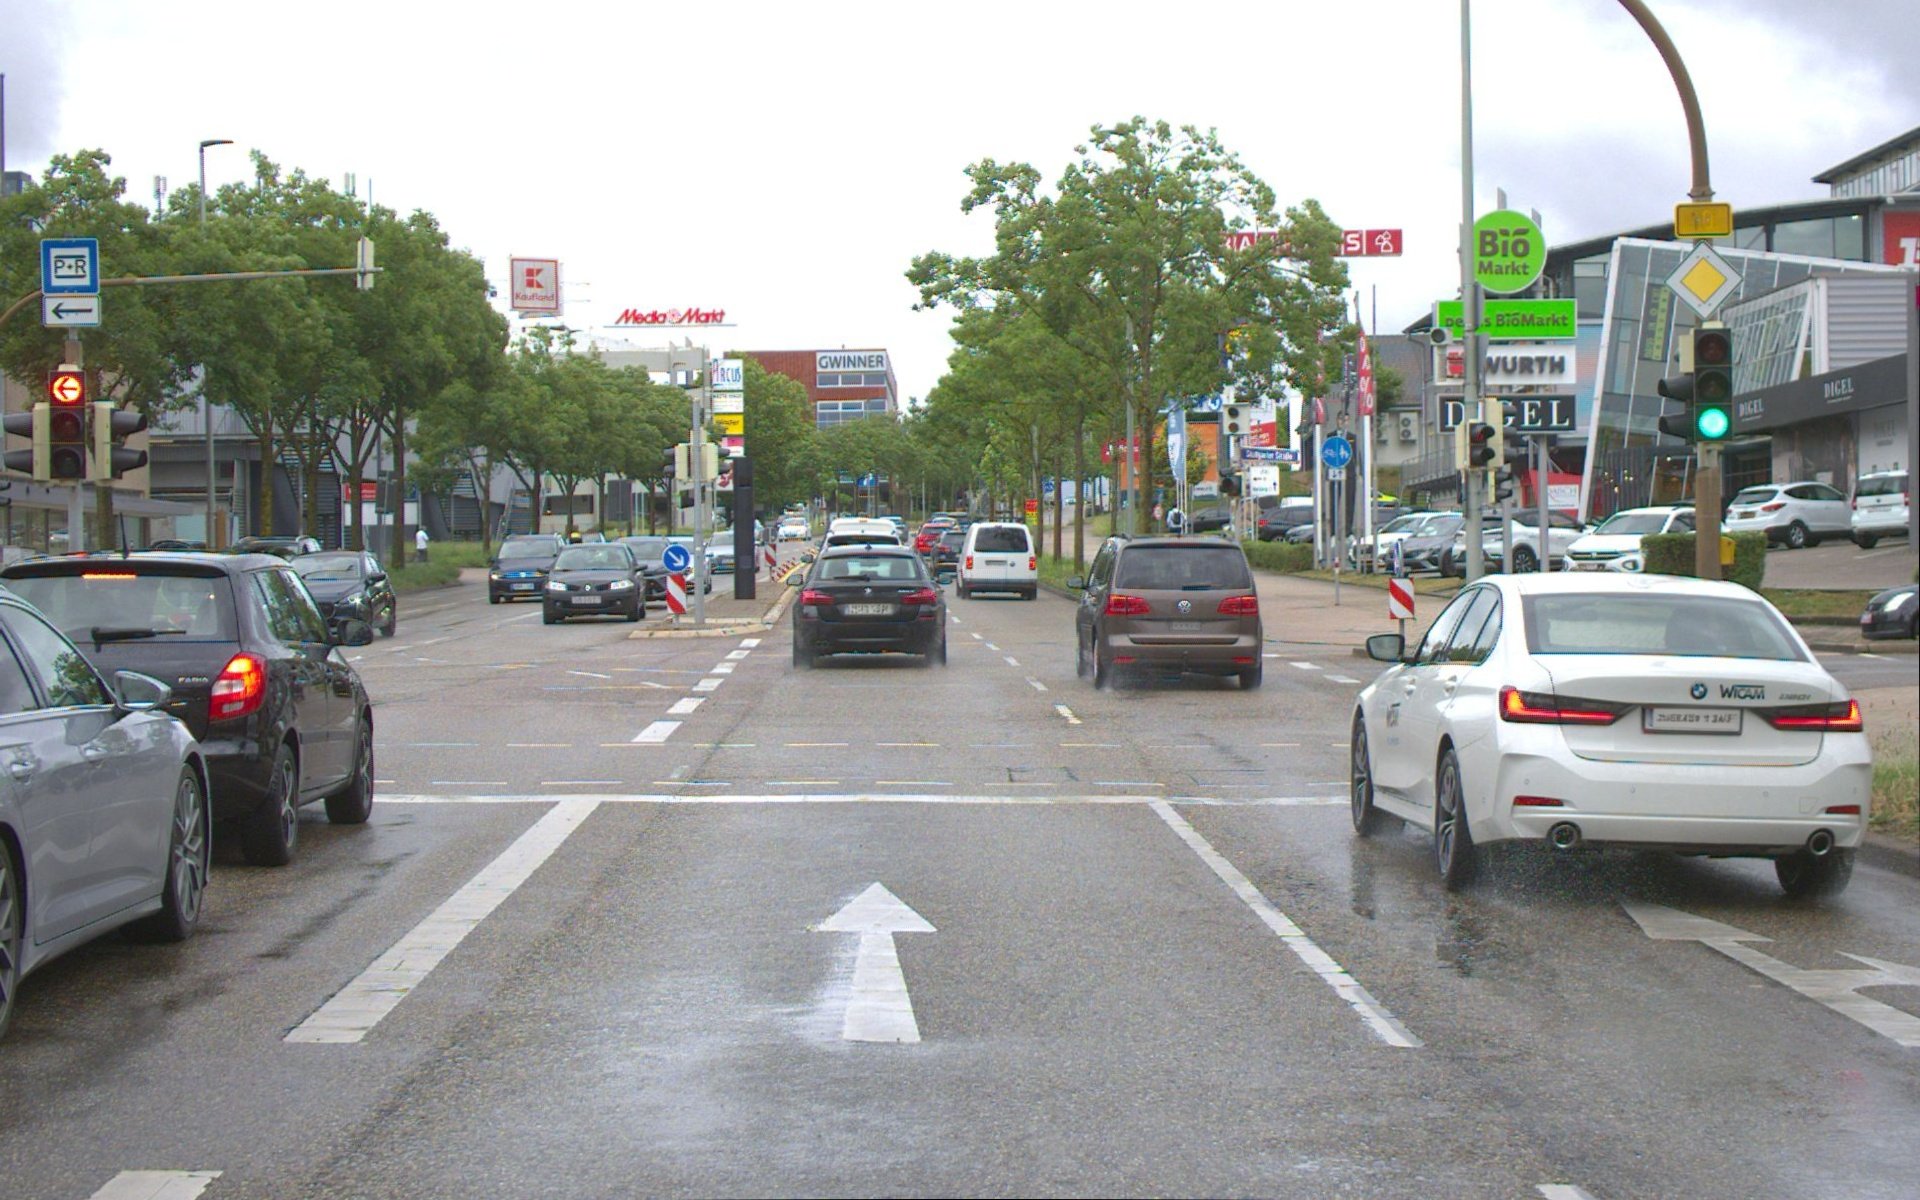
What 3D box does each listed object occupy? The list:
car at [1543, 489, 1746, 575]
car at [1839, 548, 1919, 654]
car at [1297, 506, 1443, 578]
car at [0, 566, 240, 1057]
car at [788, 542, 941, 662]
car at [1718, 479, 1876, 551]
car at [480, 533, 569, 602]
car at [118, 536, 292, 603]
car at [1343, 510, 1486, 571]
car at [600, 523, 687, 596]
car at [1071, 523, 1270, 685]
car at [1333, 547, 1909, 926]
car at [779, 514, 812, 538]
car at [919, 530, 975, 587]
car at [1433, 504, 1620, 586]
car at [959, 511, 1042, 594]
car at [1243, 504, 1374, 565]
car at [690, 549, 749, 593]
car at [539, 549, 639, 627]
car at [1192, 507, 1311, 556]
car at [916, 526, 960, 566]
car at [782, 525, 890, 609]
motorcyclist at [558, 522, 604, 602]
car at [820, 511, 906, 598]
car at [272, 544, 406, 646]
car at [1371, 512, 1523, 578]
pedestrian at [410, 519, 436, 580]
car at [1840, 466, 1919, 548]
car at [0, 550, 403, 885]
[{"bbox_3d":[13.101,-1.306,65.626,1.930,1.571,4.278,0,1,41],"label":"car"},{"bbox_3d":[14.886,-0.028,49.459,3.979,1.484,1.817,-1,0,0],"label":"car"},{"bbox_3d":[12.094,-1.718,101.656,4.111,2.098,1.800,0,1,1],"label":"car"},{"bbox_3d":[-3.779,0.631,11.557,1.765,1.453,4.781,-1,1,-1],"label":"car"},{"bbox_3d":[-1.162,-0.004,42.143,1.781,1.393,4.000,0,1,-1],"label":"car"},{"bbox_3d":[21.084,-2.141,86.517,4.142,1.765,1.737,-2,1,-40],"label":"car"},{"bbox_3d":[-10.604,-0.810,83.909,1.910,1.603,4.364,-1,1,-4],"label":"car"},{"bbox_3d":[-18.500,-0.739,84.179,3.994,1.546,1.896,0,2,34],"label":"car"},{"bbox_3d":[12.039,-1.576,91.019,3.589,1.530,1.796,-2,2,-40],"label":"car"},{"bbox_3d":[-6.654,-0.849,72.596,1.744,1.484,4.829,-1,1,-4],"label":"car"},{"bbox_3d":[2.193,-0.002,36.862,1.801,1.581,4.451,1,1,0],"label":"car"},{"bbox_3d":[3.012,0.543,16.672,1.801,1.539,4.620,1,1,-1],"label":"car"},{"bbox_3d":[-10.134,-4.573,211.557,1.943,1.443,4.000,0,1,-2],"label":"car"},{"bbox_3d":[-0.392,-1.272,106.732,1.685,1.678,3.403,1,0,0],"label":"car"},{"bbox_3d":[12.795,-1.254,77.578,4.016,1.657,1.982,-4,3,-40],"label":"car"},{"bbox_3d":[0.921,-1.114,80.782,1.781,1.860,4.000,-1,1,-1],"label":"car"},{"bbox_3d":[11.431,-2.160,112.810,4.111,1.898,1.800,-1,1,1],"label":"car"},{"bbox_3d":[-8.061,-0.987,115.541,1.723,1.393,4.789,-3,1,-1],"label":"car"},{"bbox_3d":[-6.797,-0.246,63.207,1.682,1.372,4.001,-1,1,-4],"label":"car"},{"bbox_3d":[10.258,-2.423,121.008,4.111,1.697,1.799,0,1,5],"label":"car"},{"bbox_3d":[-0.867,-2.156,135.915,1.695,1.438,3.990,-1,3,0],"label":"car"},{"bbox_3d":[-2.161,-0.578,58.978,1.682,1.372,4.001,-1,1,-4],"label":"car"},{"bbox_3d":[-7.468,-0.762,67.802,0.806,1.554,1.268,0,1,-3],"label":"motorcyclist"},{"bbox_3d":[-2.329,-1.082,83.519,1.993,2.007,4.000,1,0,-1],"label":"car"},{"bbox_3d":[-10.046,-0.109,55.867,1.710,1.575,4.001,-1,1,-4],"label":"car"},{"bbox_3d":[11.815,-1.338,83.318,3.588,1.530,1.643,-2,1,-40],"label":"car"},{"bbox_3d":[-19.837,-1.868,126.991,0.858,2.210,0.846,0,1,-4],"label":"pedestrian"},{"bbox_3d":[21.574,-2.085,76.847,4.143,1.765,1.737,-2,1,-44],"label":"car"},{"bbox_3d":[-3.998,0.503,17.509,1.713,1.484,4.078,-1,1,-1],"label":"car"}]
